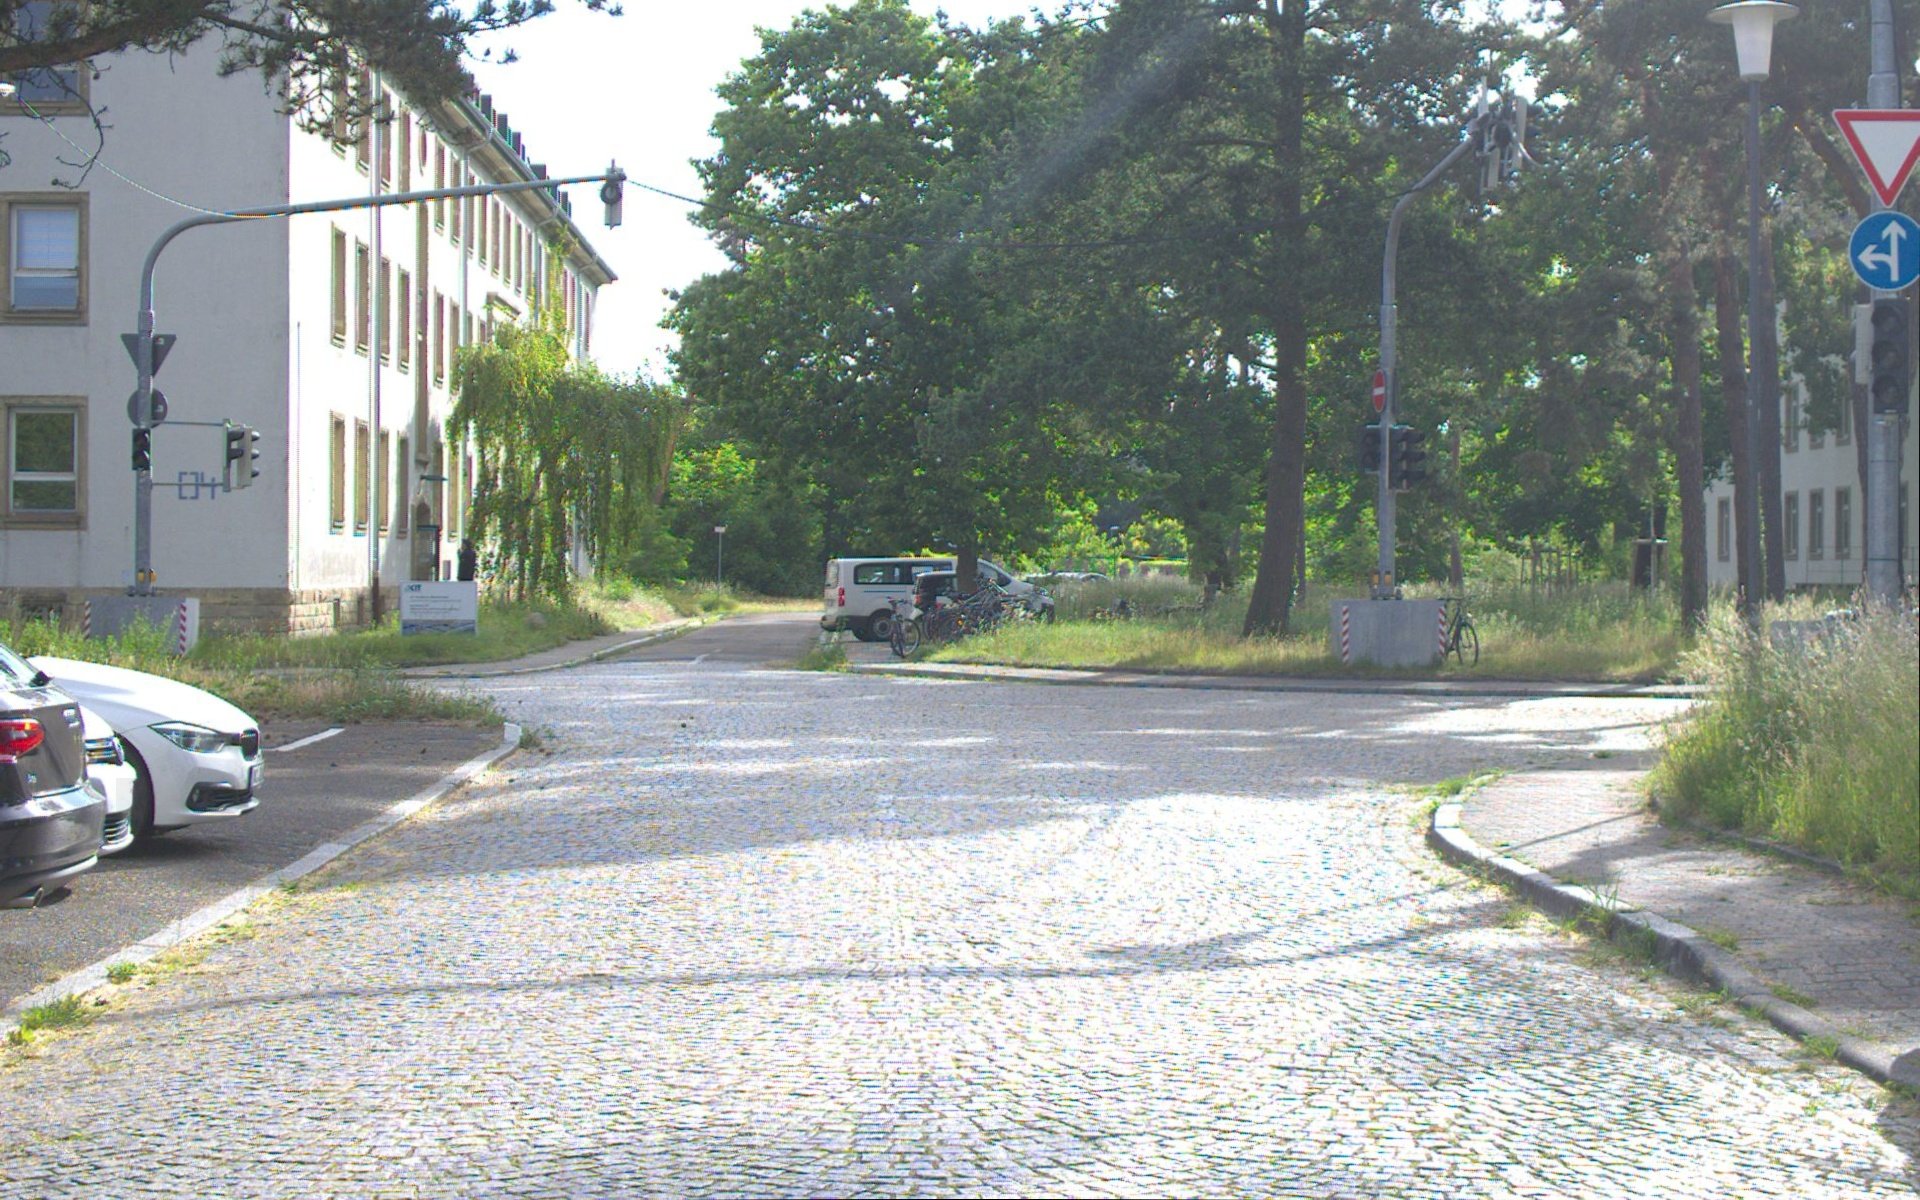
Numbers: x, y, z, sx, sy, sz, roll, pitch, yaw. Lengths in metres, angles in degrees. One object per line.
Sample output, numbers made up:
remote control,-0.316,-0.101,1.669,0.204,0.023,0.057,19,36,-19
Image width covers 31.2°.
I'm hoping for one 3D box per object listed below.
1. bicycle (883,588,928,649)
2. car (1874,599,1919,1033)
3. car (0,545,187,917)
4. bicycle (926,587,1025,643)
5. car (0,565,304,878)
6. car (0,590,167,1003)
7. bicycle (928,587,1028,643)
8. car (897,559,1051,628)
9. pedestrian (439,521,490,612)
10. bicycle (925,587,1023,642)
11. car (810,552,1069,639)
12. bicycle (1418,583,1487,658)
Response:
bicycle,-0.939,0.309,58.861,0.728,0.995,1.799,0,2,-2
car,5.609,0.733,11.504,4.543,1.500,1.933,0,0,-3
car,-5.776,0.470,15.702,4.120,1.594,1.859,3,0,-6
bicycle,0.286,0.274,63.502,1.792,0.995,0.644,0,1,-3
car,-5.947,0.530,18.241,4.586,1.450,1.904,3,2,-4
car,-5.144,0.606,13.022,3.828,1.424,1.859,3,0,-2
bicycle,0.320,0.275,62.482,1.792,0.995,0.644,0,1,-3
car,0.295,-0.134,74.853,3.031,1.460,1.720,0,-1,-14
pedestrian,-10.750,-0.717,74.574,0.985,1.957,0.933,0,0,-2
bicycle,0.261,0.271,64.224,1.792,0.995,0.644,0,1,-3
car,-0.487,-0.098,78.401,5.499,1.909,2.255,0,0,-15
bicycle,6.933,0.284,48.457,0.562,0.995,1.752,0,2,-6
